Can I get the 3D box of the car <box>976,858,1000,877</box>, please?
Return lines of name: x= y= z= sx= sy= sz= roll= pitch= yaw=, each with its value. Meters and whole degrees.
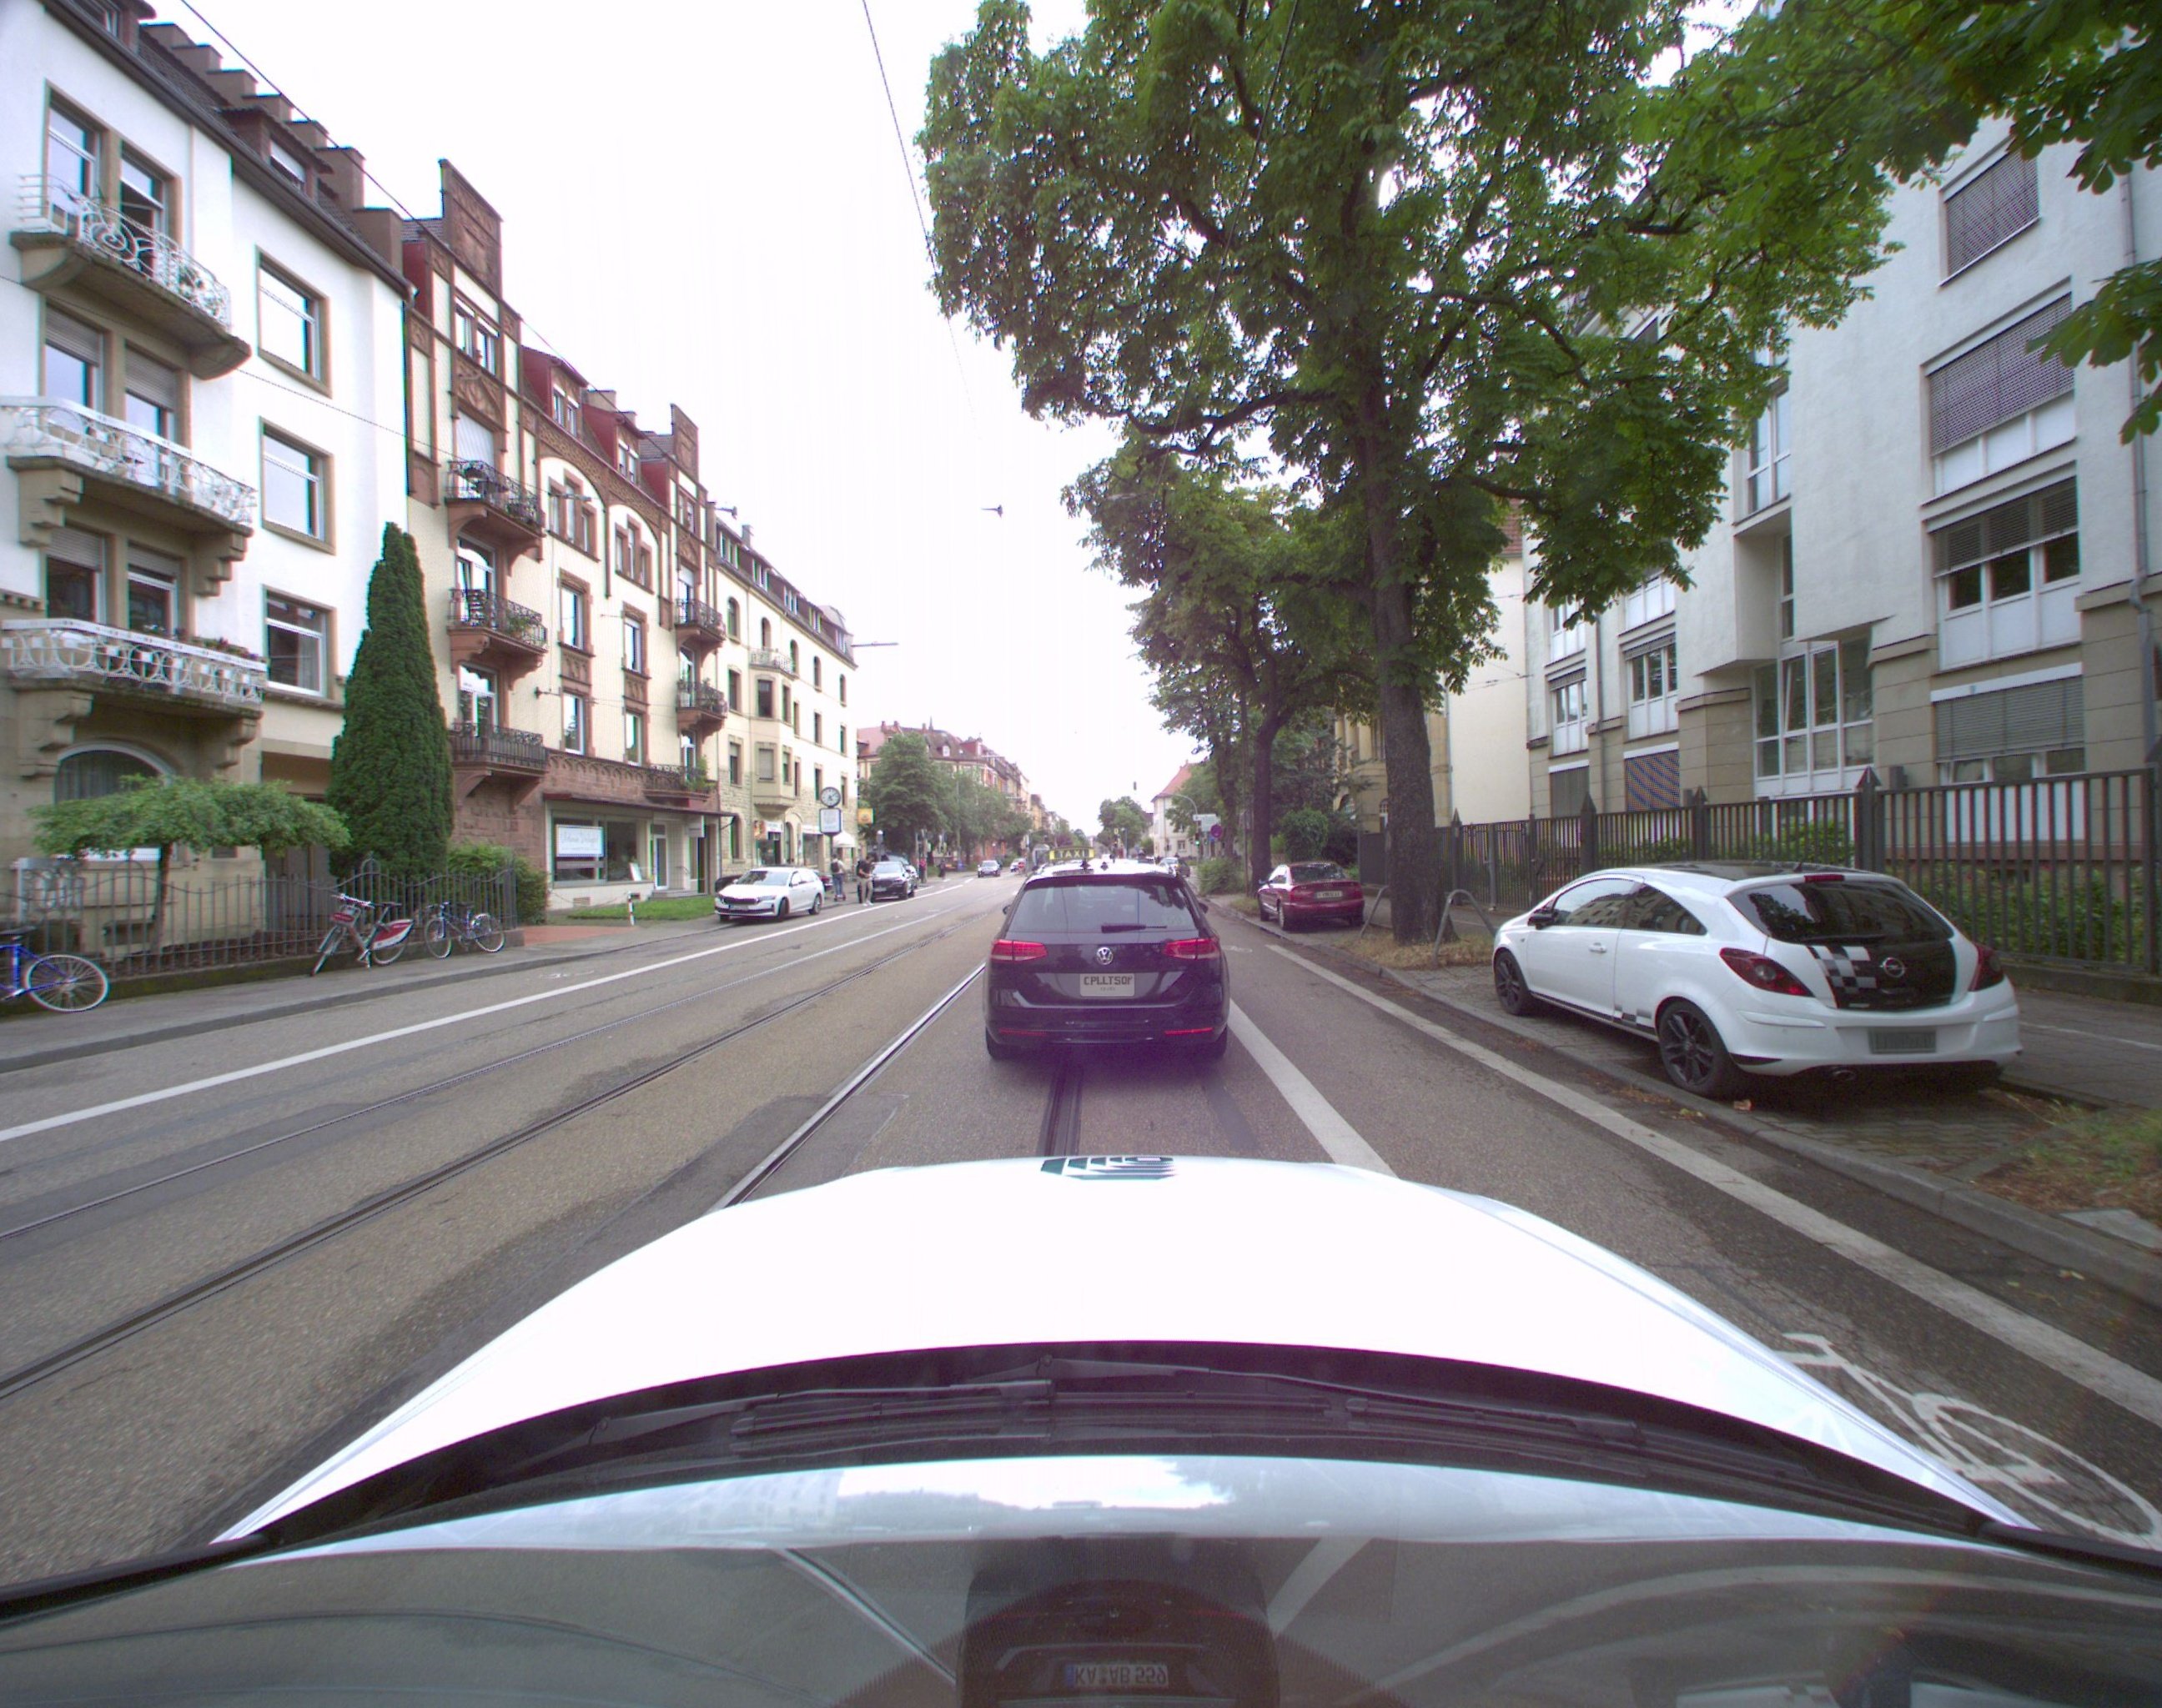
car: x=-7.919 y=1.132 z=69.601 sx=1.604 sy=1.422 sz=3.484 roll=-3 pitch=0 yaw=-1

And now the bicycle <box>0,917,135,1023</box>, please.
bicycle: x=-10.884 y=1.206 z=8.219 sx=0.356 sy=0.928 sz=1.663 roll=-21 pitch=-1 yaw=4

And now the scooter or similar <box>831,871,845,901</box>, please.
scooter or similar: x=-10.346 y=1.365 z=34.642 sx=0.230 sy=1.234 sz=0.954 roll=-2 pitch=0 yaw=2

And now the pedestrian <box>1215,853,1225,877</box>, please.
pedestrian: x=10.641 y=0.834 z=62.297 sx=0.510 sy=1.831 sz=0.420 roll=-5 pitch=-1 yaw=18

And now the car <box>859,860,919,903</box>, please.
car: x=-8.255 y=1.142 z=35.365 sx=1.881 sy=1.611 sz=4.875 roll=-4 pitch=0 yaw=-7

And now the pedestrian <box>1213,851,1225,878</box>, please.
pedestrian: x=9.372 y=0.715 z=55.160 sx=0.583 sy=1.831 sz=0.604 roll=-5 pitch=-1 yaw=1

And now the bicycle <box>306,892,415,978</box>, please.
bicycle: x=-10.608 y=1.153 z=12.056 sx=0.385 sy=1.102 sz=1.620 roll=-2 pitch=0 yaw=-9

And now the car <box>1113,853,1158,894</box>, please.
car: x=2.186 y=0.766 z=33.536 sx=1.717 sy=1.546 sz=4.002 roll=-1 pitch=0 yaw=2

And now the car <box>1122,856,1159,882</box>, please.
car: x=3.618 y=0.862 z=48.991 sx=1.881 sy=1.408 sz=4.009 roll=-2 pitch=0 yaw=8

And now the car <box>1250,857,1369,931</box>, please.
car: x=5.043 y=0.810 z=18.533 sx=1.596 sy=1.399 sz=4.229 roll=-3 pitch=0 yaw=2

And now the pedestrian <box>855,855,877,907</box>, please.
pedestrian: x=-7.843 y=0.968 z=29.676 sx=0.670 sy=1.844 sz=0.877 roll=-2 pitch=0 yaw=-18

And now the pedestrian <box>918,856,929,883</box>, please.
pedestrian: x=-10.975 y=1.078 z=56.693 sx=0.621 sy=1.842 sz=0.609 roll=-2 pitch=0 yaw=-1

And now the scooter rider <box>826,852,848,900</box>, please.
scooter rider: x=-10.390 y=0.934 z=34.686 sx=0.639 sy=2.013 sz=0.758 roll=-2 pitch=0 yaw=2

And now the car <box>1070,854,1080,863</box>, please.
car: x=-1.174 y=0.854 z=162.234 sx=1.715 sy=1.622 sz=3.864 roll=-2 pitch=0 yaw=1

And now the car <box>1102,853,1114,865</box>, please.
car: x=4.647 y=0.930 z=139.850 sx=2.025 sy=2.014 sz=4.001 roll=0 pitch=-1 yaw=2

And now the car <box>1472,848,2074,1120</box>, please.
car: x=4.757 y=0.727 z=6.431 sx=1.596 sy=1.435 sz=3.779 roll=-3 pitch=0 yaw=3

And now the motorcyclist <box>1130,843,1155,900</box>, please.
motorcyclist: x=1.896 y=0.533 z=25.095 sx=0.700 sy=1.692 sz=0.805 roll=-2 pitch=0 yaw=2

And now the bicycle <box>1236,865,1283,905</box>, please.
bicycle: x=5.709 y=0.972 z=25.974 sx=1.915 sy=1.198 sz=0.428 roll=0 pitch=-2 yaw=-43

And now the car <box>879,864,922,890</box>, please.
car: x=-10.592 y=1.328 z=47.992 sx=1.643 sy=1.361 sz=4.128 roll=1 pitch=0 yaw=-1

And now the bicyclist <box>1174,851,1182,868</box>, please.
bicyclist: x=9.253 y=0.511 z=77.894 sx=0.647 sy=1.568 sz=0.697 roll=-2 pitch=0 yaw=9

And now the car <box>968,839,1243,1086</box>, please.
car: x=0.221 y=0.694 z=7.181 sx=1.717 sy=1.546 sz=4.002 roll=-1 pitch=0 yaw=2

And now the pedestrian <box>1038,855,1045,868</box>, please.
pedestrian: x=-4.531 y=0.885 z=93.301 sx=0.711 sy=1.521 sz=0.590 roll=-2 pitch=0 yaw=3

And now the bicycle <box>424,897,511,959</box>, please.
bicycle: x=-10.761 y=1.278 z=14.335 sx=0.331 sy=0.938 sz=1.516 roll=-2 pitch=0 yaw=1

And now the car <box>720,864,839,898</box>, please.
car: x=-13.011 y=1.146 z=35.355 sx=4.415 sy=1.370 sz=1.878 roll=1 pitch=0 yaw=-3

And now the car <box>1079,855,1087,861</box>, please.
car: x=0.469 y=0.911 z=195.557 sx=1.715 sy=1.465 sz=3.864 roll=-2 pitch=0 yaw=1

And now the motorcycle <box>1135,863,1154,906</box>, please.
motorcycle: x=1.942 y=0.916 z=25.008 sx=0.445 sy=1.235 sz=1.907 roll=-2 pitch=0 yaw=2

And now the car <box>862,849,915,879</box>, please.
car: x=-16.727 y=0.896 z=70.623 sx=2.197 sy=2.417 sz=5.316 roll=-1 pitch=0 yaw=-41

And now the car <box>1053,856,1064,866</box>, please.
car: x=-3.804 y=1.217 z=137.808 sx=1.715 sy=1.622 sz=3.864 roll=-2 pitch=0 yaw=1

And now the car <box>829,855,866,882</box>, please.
car: x=-22.807 y=1.398 z=79.421 sx=2.193 sy=2.527 sz=5.328 roll=-1 pitch=0 yaw=-30

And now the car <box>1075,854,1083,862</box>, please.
car: x=-0.426 y=0.843 z=176.828 sx=1.715 sy=1.622 sz=3.864 roll=-2 pitch=0 yaw=1

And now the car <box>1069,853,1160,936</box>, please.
car: x=0.710 y=0.775 z=17.553 sx=1.717 sy=1.546 sz=4.002 roll=-1 pitch=0 yaw=2

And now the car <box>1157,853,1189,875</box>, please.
car: x=6.645 y=0.734 z=59.227 sx=1.986 sy=1.577 sz=4.001 roll=0 pitch=-1 yaw=2

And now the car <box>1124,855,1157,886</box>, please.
car: x=3.154 y=0.879 z=43.366 sx=1.600 sy=1.556 sz=3.579 roll=0 pitch=-1 yaw=2

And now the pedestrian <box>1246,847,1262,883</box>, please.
pedestrian: x=8.816 y=0.551 z=41.510 sx=0.630 sy=1.815 sz=0.726 roll=-2 pitch=0 yaw=-1

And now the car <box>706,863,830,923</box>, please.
car: x=-8.956 y=1.056 z=23.775 sx=1.741 sy=1.484 sz=4.610 roll=-2 pitch=0 yaw=1

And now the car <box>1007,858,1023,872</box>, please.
car: x=-7.729 y=1.242 z=95.371 sx=1.695 sy=1.496 sz=3.926 roll=-3 pitch=0 yaw=-3

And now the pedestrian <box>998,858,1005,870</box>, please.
pedestrian: x=-10.445 y=1.290 z=107.428 sx=0.582 sy=1.521 sz=0.653 roll=-2 pitch=-1 yaw=37

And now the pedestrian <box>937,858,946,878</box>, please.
pedestrian: x=-11.539 y=1.166 z=67.355 sx=0.587 sy=1.663 sz=0.839 roll=-2 pitch=0 yaw=1
